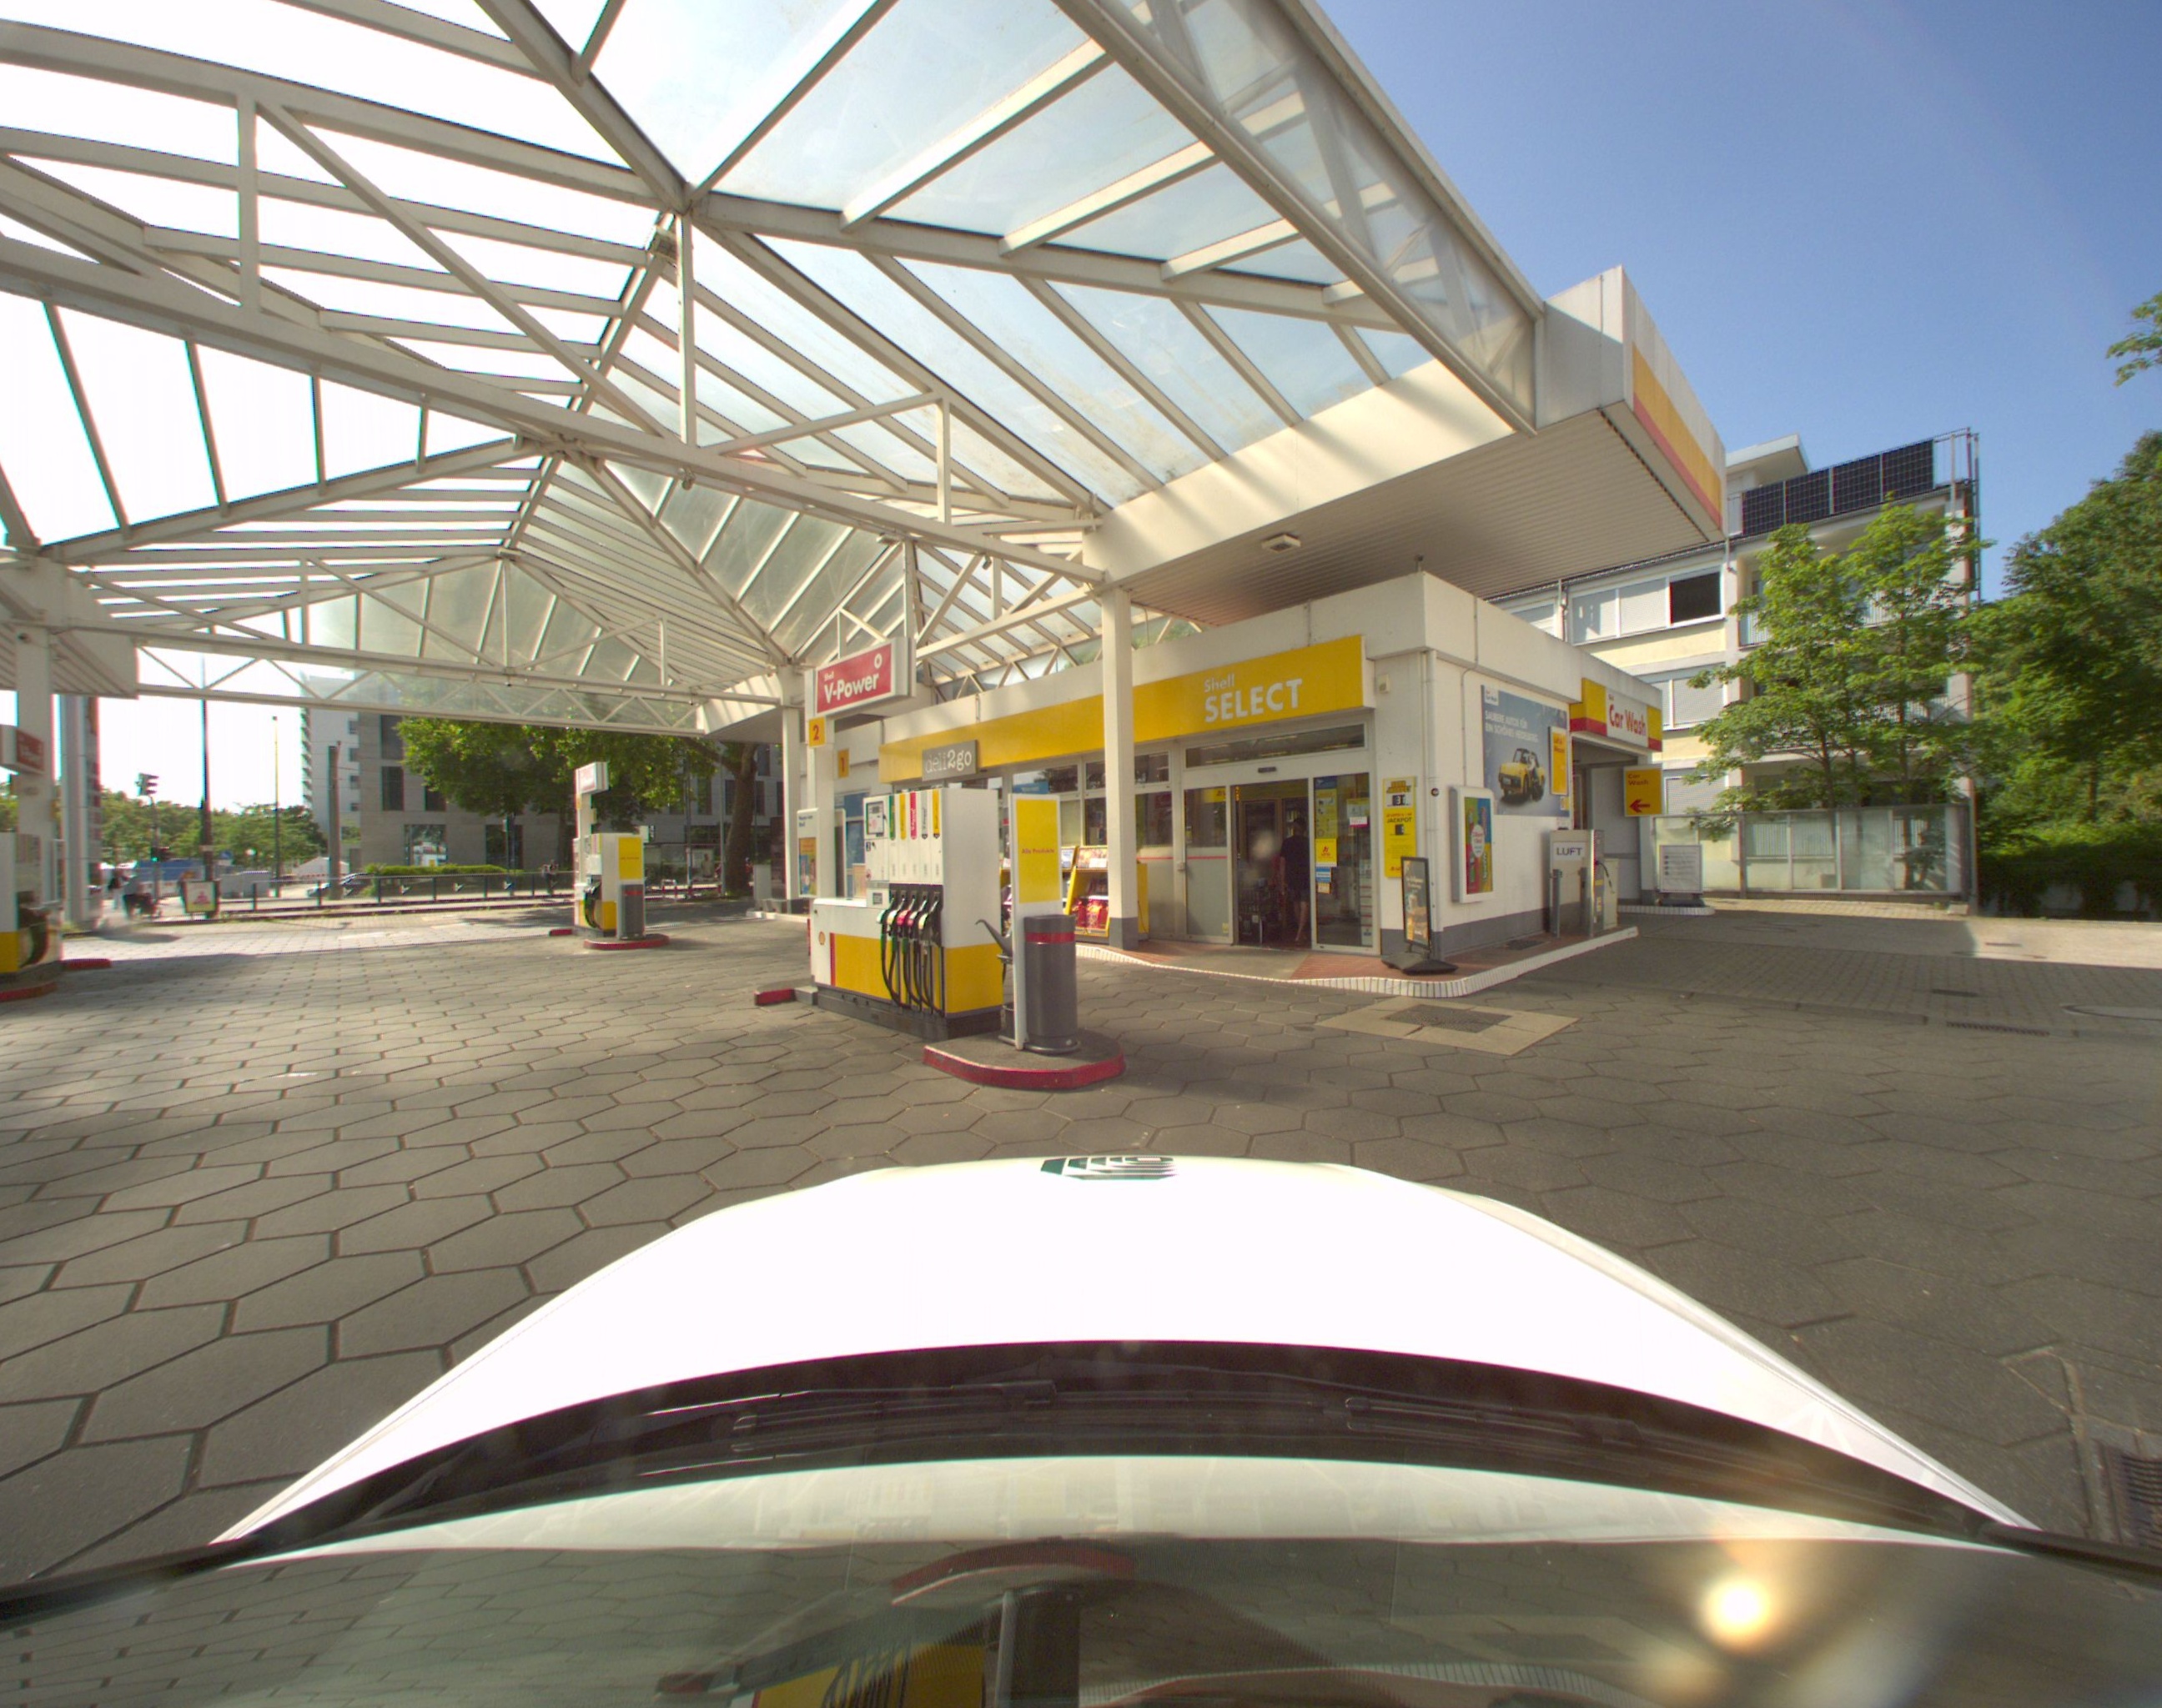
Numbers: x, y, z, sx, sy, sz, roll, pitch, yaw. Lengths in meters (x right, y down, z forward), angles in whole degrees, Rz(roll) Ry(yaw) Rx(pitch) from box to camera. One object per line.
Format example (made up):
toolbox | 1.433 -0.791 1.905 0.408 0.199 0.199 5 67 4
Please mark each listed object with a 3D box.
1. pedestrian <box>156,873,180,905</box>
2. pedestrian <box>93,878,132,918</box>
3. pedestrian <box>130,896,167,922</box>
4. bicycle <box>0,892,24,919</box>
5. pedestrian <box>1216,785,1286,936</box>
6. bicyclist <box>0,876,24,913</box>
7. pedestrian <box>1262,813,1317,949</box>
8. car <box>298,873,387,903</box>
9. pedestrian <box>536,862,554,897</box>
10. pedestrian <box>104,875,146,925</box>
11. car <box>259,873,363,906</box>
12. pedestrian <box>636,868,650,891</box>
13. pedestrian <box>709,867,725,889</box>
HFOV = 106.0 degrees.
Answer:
pedestrian | -45.231 1.740 40.329 0.655 1.540 0.498 -2 0 -34
pedestrian | -41.742 1.887 35.115 0.932 1.683 0.501 -2 0 -11
pedestrian | -33.860 2.006 29.576 0.499 0.880 0.694 -2 0 5
bicycle | -46.419 2.233 35.336 2.000 1.082 0.644 -2 0 38
pedestrian | 2.371 0.085 11.327 0.615 2.013 0.747 -2 0 39
bicyclist | -46.460 1.752 35.361 1.158 1.580 0.644 -2 0 38
pedestrian | 2.800 0.353 10.941 0.566 1.762 0.533 -1 0 27
car | -43.600 1.981 48.130 1.571 1.552 3.717 -2 0 42
pedestrian | -25.348 1.187 38.511 0.589 1.591 0.662 -2 1 -43
pedestrian | -33.823 1.619 28.831 0.499 1.683 0.780 -2 0 5
car | -42.248 1.899 44.762 1.681 1.552 4.025 -2 0 42
pedestrian | -22.295 1.308 41.450 0.503 1.138 0.518 -1 0 -36
pedestrian | -19.653 1.288 43.979 0.633 1.138 0.518 -2 0 -36
